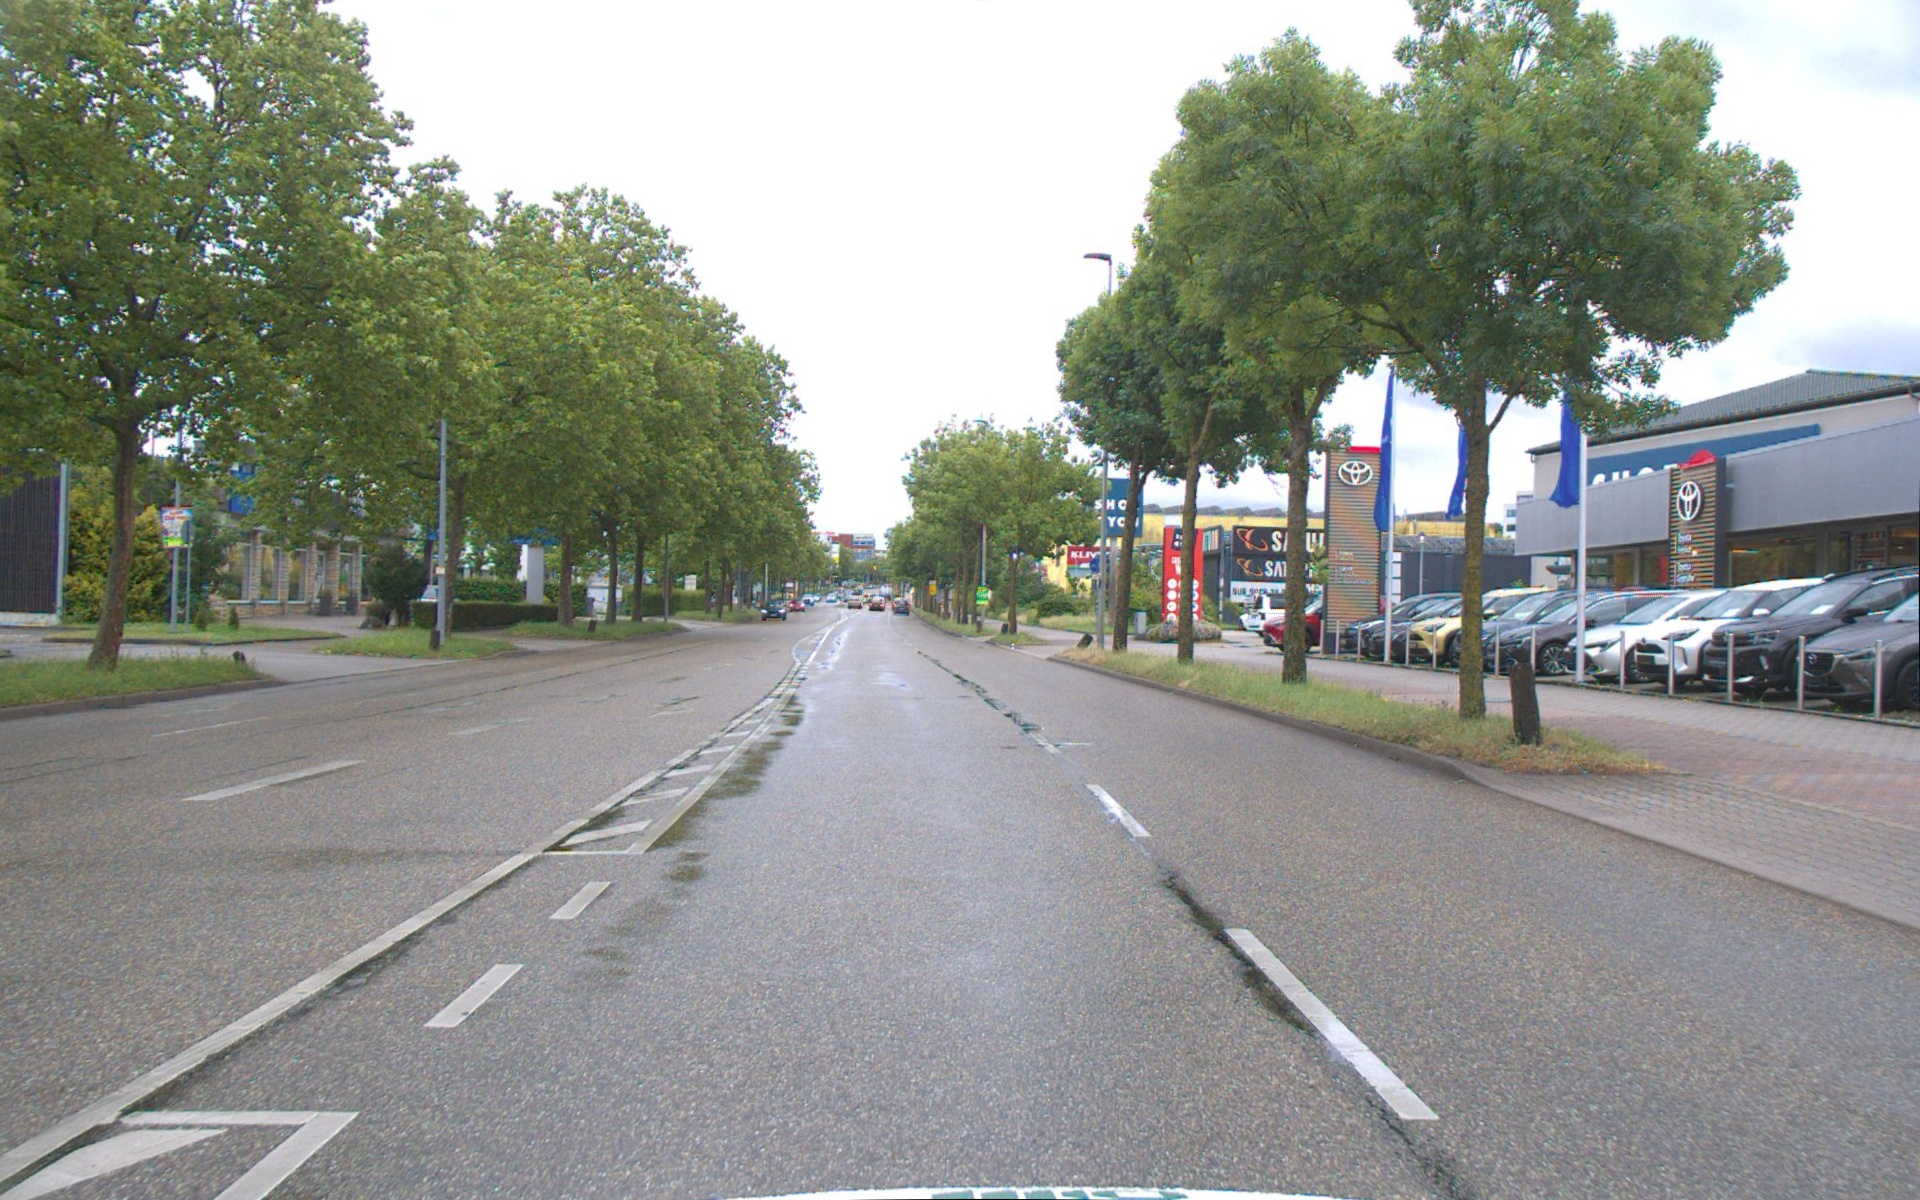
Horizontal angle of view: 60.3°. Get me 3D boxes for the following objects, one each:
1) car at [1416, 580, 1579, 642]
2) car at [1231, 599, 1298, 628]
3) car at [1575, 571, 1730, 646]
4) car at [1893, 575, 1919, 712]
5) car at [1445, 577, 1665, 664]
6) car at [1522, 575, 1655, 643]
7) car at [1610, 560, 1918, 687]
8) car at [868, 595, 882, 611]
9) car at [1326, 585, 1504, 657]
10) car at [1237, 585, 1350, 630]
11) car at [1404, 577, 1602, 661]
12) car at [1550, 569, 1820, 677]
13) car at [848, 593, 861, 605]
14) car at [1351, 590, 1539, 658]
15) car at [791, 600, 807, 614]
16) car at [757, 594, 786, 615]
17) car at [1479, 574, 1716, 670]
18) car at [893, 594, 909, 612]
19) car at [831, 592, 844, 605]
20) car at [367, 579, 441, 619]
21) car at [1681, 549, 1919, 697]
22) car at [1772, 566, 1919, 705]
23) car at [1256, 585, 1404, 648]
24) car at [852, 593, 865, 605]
[{"bbox_3d":[15.305,0.300,47.235,4.024,1.650,1.881,-1,0,1],"label":"car"},{"bbox_3d":[16.543,0.715,90.096,1.847,1.494,4.937,1,0,-12],"label":"car"},{"bbox_3d":[16.236,0.190,38.997,1.836,1.650,4.121,-1,0,-1],"label":"car"},{"bbox_3d":[13.064,0.381,18.735,3.906,1.570,1.812,-4,0,0],"label":"car"},{"bbox_3d":[12.298,0.415,34.361,3.906,1.574,1.710,-3,0,0],"label":"car"},{"bbox_3d":[16.429,0.228,43.443,1.836,1.650,4.121,-1,0,-1],"label":"car"},{"bbox_3d":[12.599,0.346,26.069,3.909,1.615,1.811,-5,1,-4],"label":"car"},{"bbox_3d":[-11.147,0.360,217.110,1.709,2.049,3.999,0,0,-2],"label":"car"},{"bbox_3d":[11.328,0.508,41.359,3.907,1.676,1.844,1,0,-3],"label":"car"},{"bbox_3d":[15.308,0.356,75.983,4.737,2.049,1.984,0,-1,-13],"label":"car"},{"bbox_3d":[12.040,0.409,36.781,3.764,1.593,1.665,-3,0,-5],"label":"car"},{"bbox_3d":[12.526,0.384,28.752,3.905,1.818,1.812,0,0,0],"label":"car"},{"bbox_3d":[-15.280,-0.144,239.633,1.709,1.730,3.999,0,0,-2],"label":"car"},{"bbox_3d":[11.420,0.556,39.120,3.907,1.565,1.799,0,0,-3],"label":"car"},{"bbox_3d":[-18.278,0.748,187.841,1.691,1.544,3.819,0,0,-3],"label":"car"},{"bbox_3d":[-13.618,0.294,119.796,1.768,1.488,3.844,-1,0,-2],"label":"car"},{"bbox_3d":[12.316,0.414,32.104,3.905,1.818,1.812,0,0,0],"label":"car"},{"bbox_3d":[-6.606,0.312,184.630,1.709,2.049,3.999,0,0,-2],"label":"car"},{"bbox_3d":[-18.753,-0.237,252.578,1.954,2.049,3.997,0,0,-4],"label":"car"},{"bbox_3d":[-21.720,-0.024,64.782,1.787,1.512,3.936,0,0,-4],"label":"car"},{"bbox_3d":[12.629,0.273,23.476,3.906,1.817,1.812,-4,0,0],"label":"car"},{"bbox_3d":[12.804,0.349,21.108,3.906,1.612,1.812,-4,0,0],"label":"car"},{"bbox_3d":[10.538,0.454,47.291,3.764,1.631,1.794,-2,0,-2],"label":"car"},{"bbox_3d":[-15.573,-0.155,254.278,1.853,1.909,4.121,0,0,-3],"label":"car"}]
